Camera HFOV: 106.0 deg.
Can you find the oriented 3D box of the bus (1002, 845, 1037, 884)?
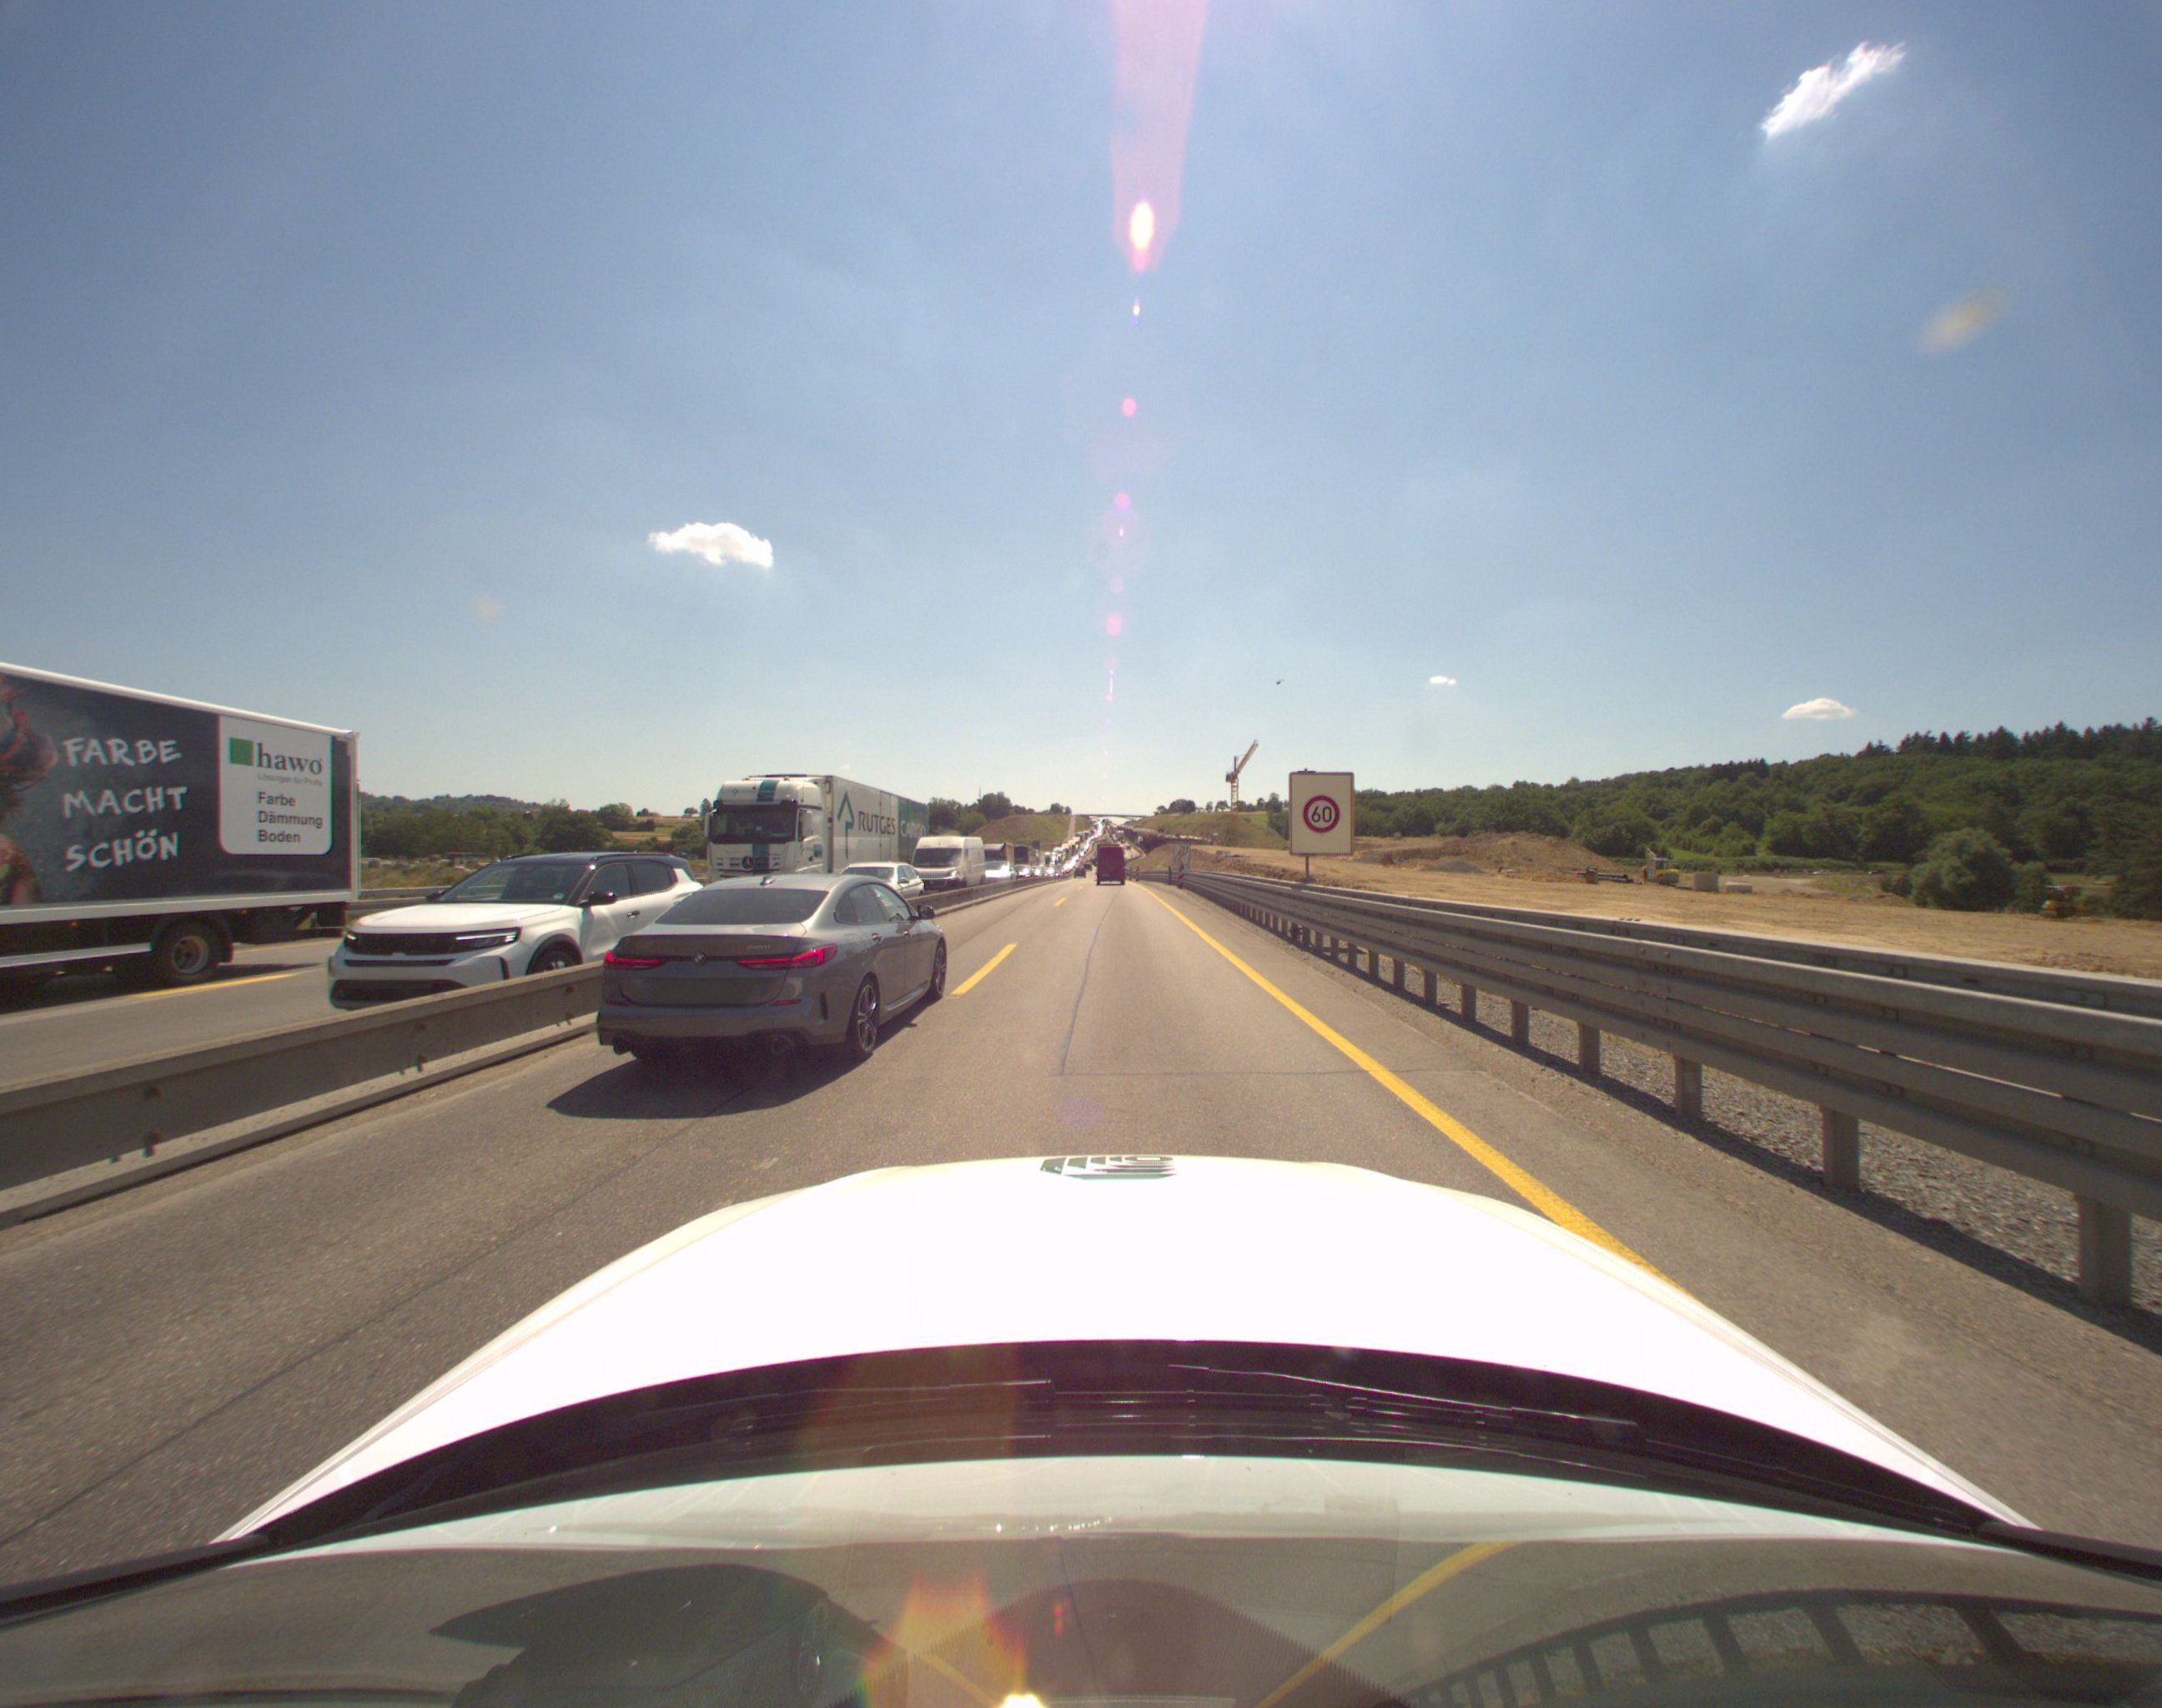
[{"bbox_3d":[-7.137,1.130,96.781,2.730,4.263,14.478,1,0,1],"label":"bus"}]

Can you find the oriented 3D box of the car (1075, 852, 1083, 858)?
[{"bbox_3d":[-0.589,0.203,236.054,1.988,1.783,3.999,0,1,-1],"label":"car"}]

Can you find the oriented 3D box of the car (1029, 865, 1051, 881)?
[{"bbox_3d":[-3.947,1.846,79.487,1.832,1.443,4.930,1,0,1],"label":"car"}]

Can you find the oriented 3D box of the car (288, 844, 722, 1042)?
[{"bbox_3d":[-5.814,0.746,9.003,1.750,1.646,4.156,1,0,1],"label":"car"}]

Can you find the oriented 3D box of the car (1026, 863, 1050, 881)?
[{"bbox_3d":[-3.851,1.605,73.623,1.853,1.494,4.903,-3,-1,0],"label":"car"}]

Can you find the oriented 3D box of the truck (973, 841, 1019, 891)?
[{"bbox_3d":[-7.589,0.990,73.797,2.792,4.152,10.082,1,0,1],"label":"truck"}]

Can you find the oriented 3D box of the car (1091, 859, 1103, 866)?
[{"bbox_3d":[3.987,2.060,200.261,1.998,1.545,4.146,1,0,12],"label":"car"}]

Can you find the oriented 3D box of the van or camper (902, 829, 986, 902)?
[{"bbox_3d":[-5.165,0.388,31.719,2.212,2.511,6.531,1,0,-1],"label":"van or camper"}]

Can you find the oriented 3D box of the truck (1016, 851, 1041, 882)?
[{"bbox_3d":[-7.254,1.664,113.486,3.087,4.198,6.701,0,0,0],"label":"truck"}]

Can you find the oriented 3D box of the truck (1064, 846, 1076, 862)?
[{"bbox_3d":[-3.185,0.018,241.168,3.039,4.480,5.986,0,0,4],"label":"truck"}]

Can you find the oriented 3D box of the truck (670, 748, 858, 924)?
[{"bbox_3d":[-8.819,-0.457,23.587,2.796,4.392,6.227,-1,0,2],"label":"truck"}]

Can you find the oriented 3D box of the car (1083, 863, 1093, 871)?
[{"bbox_3d":[1.509,2.714,168.218,2.005,1.545,4.132,1,0,0],"label":"car"}]

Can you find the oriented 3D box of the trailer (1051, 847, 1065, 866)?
[{"bbox_3d":[-5.490,0.578,192.949,2.585,4.257,12.471,0,0,1],"label":"trailer"}]

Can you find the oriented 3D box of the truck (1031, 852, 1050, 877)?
[{"bbox_3d":[-6.737,1.769,136.260,2.969,4.185,5.869,0,-1,-2],"label":"truck"}]

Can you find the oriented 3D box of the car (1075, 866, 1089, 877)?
[{"bbox_3d":[0.108,2.532,121.623,2.006,1.545,4.131,0,0,0],"label":"car"}]

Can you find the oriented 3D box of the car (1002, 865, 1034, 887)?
[{"bbox_3d":[-4.566,1.589,59.912,1.876,1.432,5.125,1,0,1],"label":"car"}]

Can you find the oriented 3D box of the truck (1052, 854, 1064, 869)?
[{"bbox_3d":[-5.020,1.590,178.057,2.426,3.148,7.022,-1,1,0],"label":"truck"}]

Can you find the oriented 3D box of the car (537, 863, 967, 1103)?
[{"bbox_3d":[-2.450,0.860,7.598,1.844,1.452,4.746,-1,0,3],"label":"car"}]

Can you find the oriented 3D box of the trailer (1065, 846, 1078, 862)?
[{"bbox_3d":[-2.845,-0.073,246.846,3.029,4.552,12.139,0,0,4],"label":"trailer"}]

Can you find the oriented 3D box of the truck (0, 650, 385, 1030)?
[{"bbox_3d":[-12.263,-0.154,8.881,2.901,3.764,8.348,0,0,-7],"label":"truck"}]

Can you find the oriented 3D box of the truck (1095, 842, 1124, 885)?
[{"bbox_3d":[3.217,1.097,94.525,3.011,4.693,6.932,-2,0,0],"label":"truck"}]

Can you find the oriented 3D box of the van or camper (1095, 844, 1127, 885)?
[{"bbox_3d":[2.085,0.730,56.935,2.023,2.744,4.514,0,0,-1],"label":"van or camper"}]

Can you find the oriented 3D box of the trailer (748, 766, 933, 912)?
[{"bbox_3d":[-8.566,-0.372,31.568,2.804,4.430,13.172,-1,-1,2],"label":"trailer"}]

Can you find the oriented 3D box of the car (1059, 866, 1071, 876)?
[{"bbox_3d":[-2.750,2.978,142.754,1.987,1.631,4.757,1,0,0],"label":"car"}]

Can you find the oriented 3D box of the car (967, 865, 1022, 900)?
[{"bbox_3d":[-4.856,1.551,46.697,2.363,1.726,5.783,1,0,1],"label":"car"}]

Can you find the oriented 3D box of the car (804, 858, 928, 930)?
[{"bbox_3d":[-5.217,0.896,20.508,1.989,1.498,4.969,1,0,-3],"label":"car"}]

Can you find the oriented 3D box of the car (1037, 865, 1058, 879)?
[{"bbox_3d":[-3.642,1.946,89.172,1.911,1.423,5.091,1,0,1],"label":"car"}]
